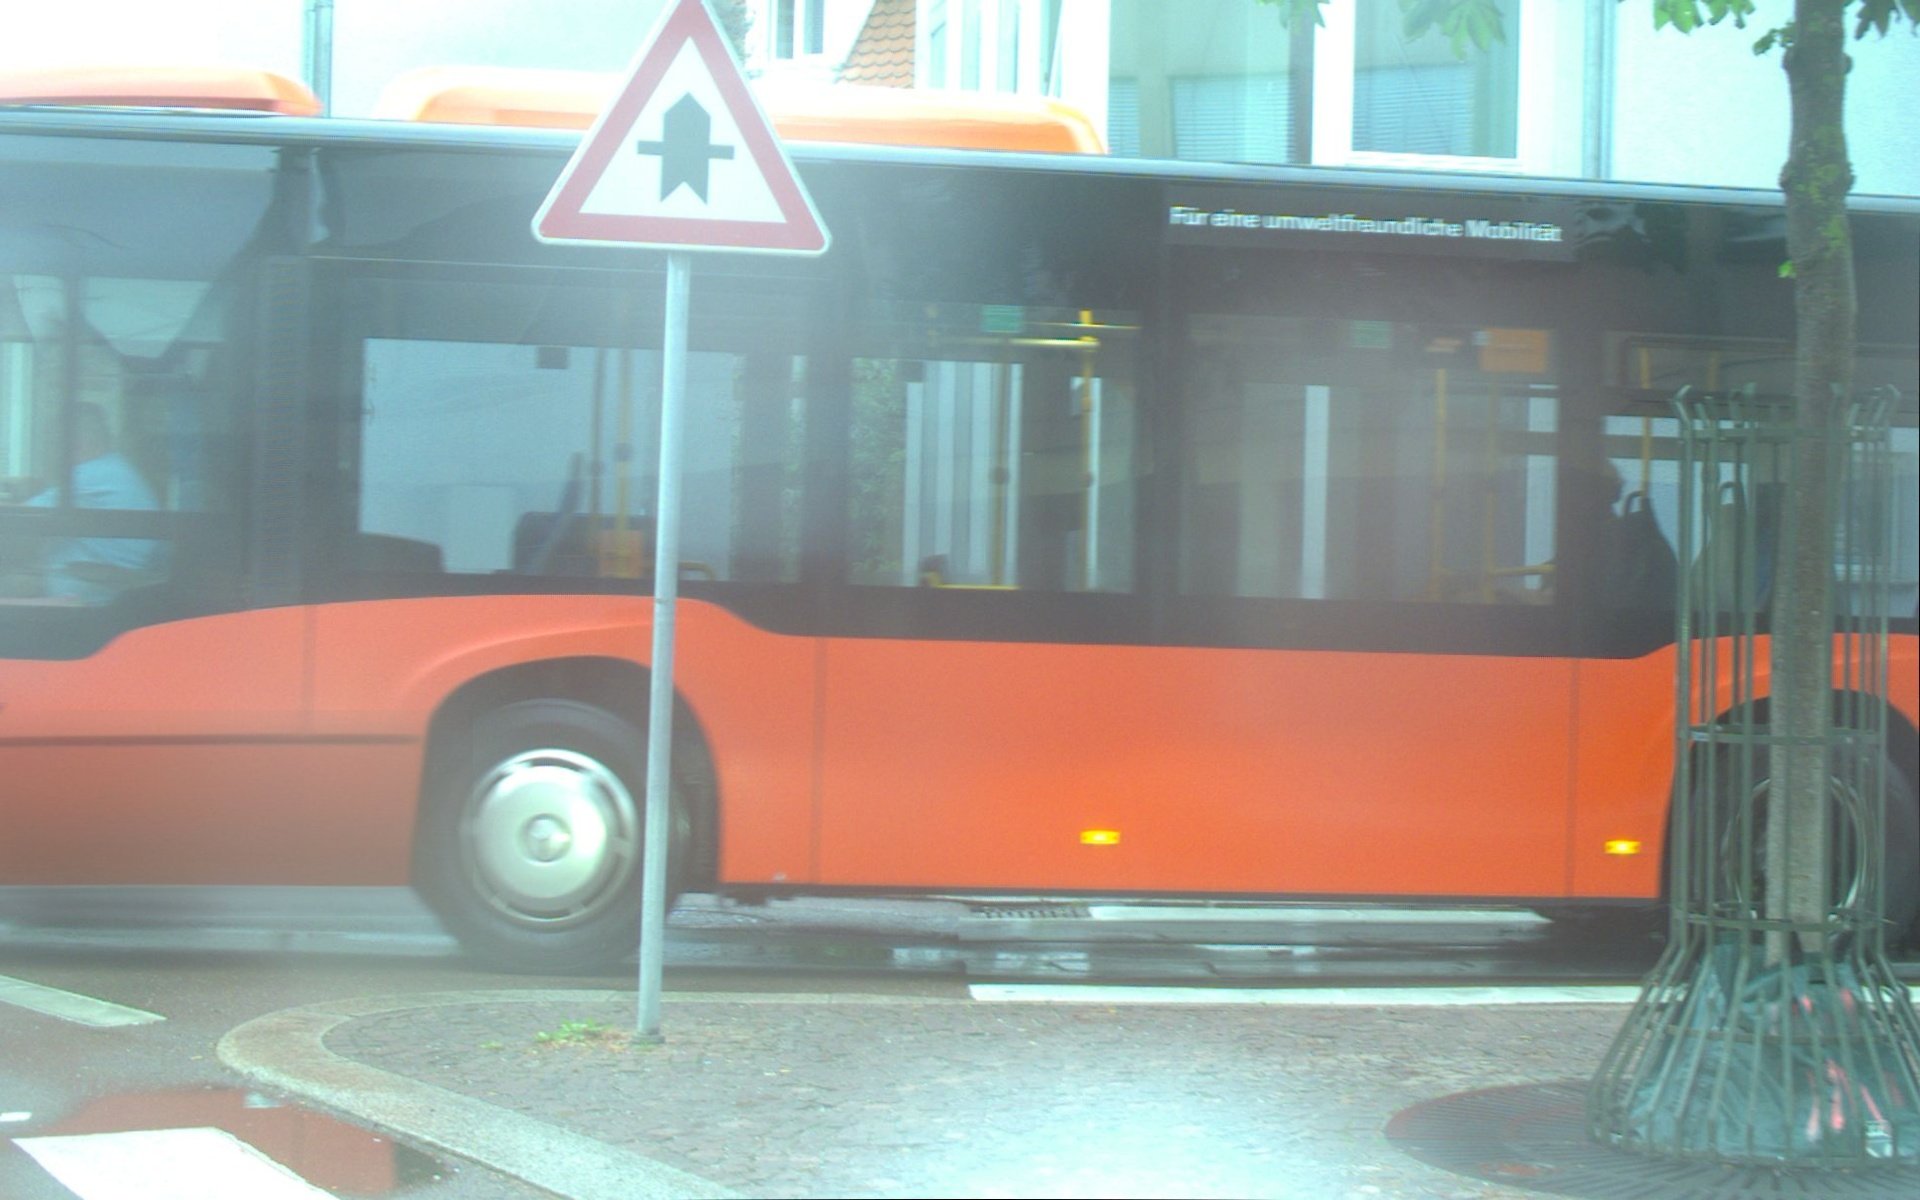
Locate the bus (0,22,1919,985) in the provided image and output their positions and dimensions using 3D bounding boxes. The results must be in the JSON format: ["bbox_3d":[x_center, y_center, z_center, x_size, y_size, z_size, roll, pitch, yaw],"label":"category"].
[{"bbox_3d":[0.949,-0.242,13.075,10.570,3.078,2.823,1,0,-9],"label":"bus"}]
